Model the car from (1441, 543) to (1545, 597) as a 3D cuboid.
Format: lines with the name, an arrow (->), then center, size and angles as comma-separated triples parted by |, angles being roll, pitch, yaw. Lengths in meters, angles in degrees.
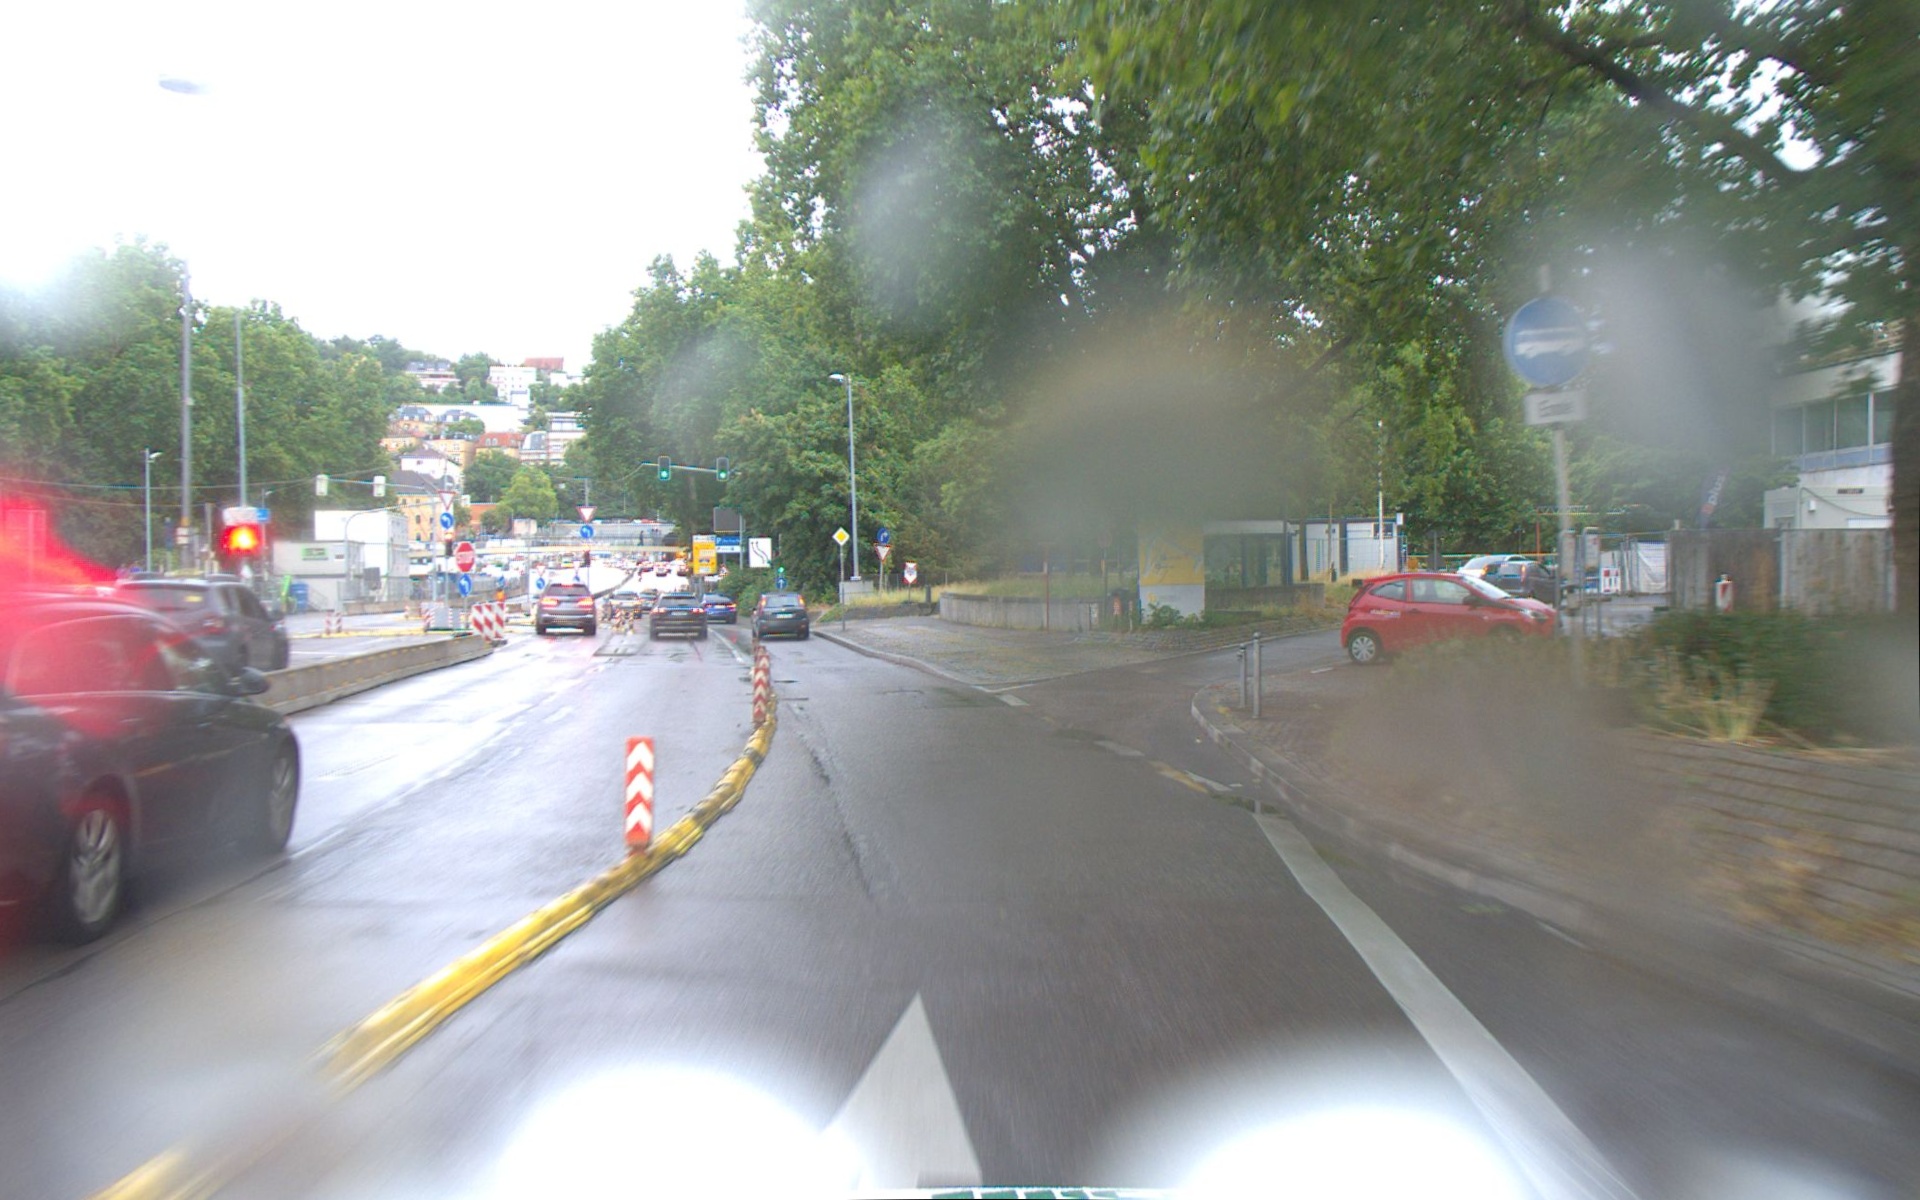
car -> 18.959, -1.044, 58.732 | 1.916, 1.812, 4.428 | 0, 0, 42

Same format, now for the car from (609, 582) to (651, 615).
car -> -18.121, -0.098, 91.026 | 1.867, 1.747, 3.995 | 0, 0, -6

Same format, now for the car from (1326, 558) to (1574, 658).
car -> 7.992, 0.112, 27.040 | 3.545, 1.532, 1.728 | 0, 0, 35

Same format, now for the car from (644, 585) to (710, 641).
car -> -9.244, 0.395, 54.224 | 1.795, 1.715, 4.129 | -1, 1, -5

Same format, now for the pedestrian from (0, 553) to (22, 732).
pedestrian -> -11.508, 0.492, 18.944 | 1.003, 2.049, 0.837 | 0, 1, 14

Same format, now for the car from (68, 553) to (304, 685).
car -> -10.448, 0.228, 22.675 | 1.959, 1.556, 4.140 | -2, 0, -12

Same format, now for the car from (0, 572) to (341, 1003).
car -> -4.579, 0.656, 7.972 | 1.841, 1.534, 4.845 | 0, 0, -6

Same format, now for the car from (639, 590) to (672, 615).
car -> -20.326, 0.167, 110.301 | 1.610, 1.653, 3.773 | 0, 0, -20

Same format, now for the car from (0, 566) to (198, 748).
car -> -9.617, 0.528, 16.845 | 1.956, 1.595, 4.867 | -2, 0, -7

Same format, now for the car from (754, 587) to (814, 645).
car -> -5.509, 0.492, 52.044 | 1.816, 1.747, 3.995 | 0, 0, -6

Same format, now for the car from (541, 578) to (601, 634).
car -> -13.512, 0.199, 57.415 | 1.959, 1.859, 3.986 | 0, 0, -14

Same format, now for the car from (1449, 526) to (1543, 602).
car -> 15.338, -0.973, 47.162 | 2.084, 2.049, 4.646 | 0, 0, 24

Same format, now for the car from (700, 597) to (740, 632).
car -> -11.398, 0.661, 78.811 | 1.641, 1.609, 3.237 | 0, 0, -4
